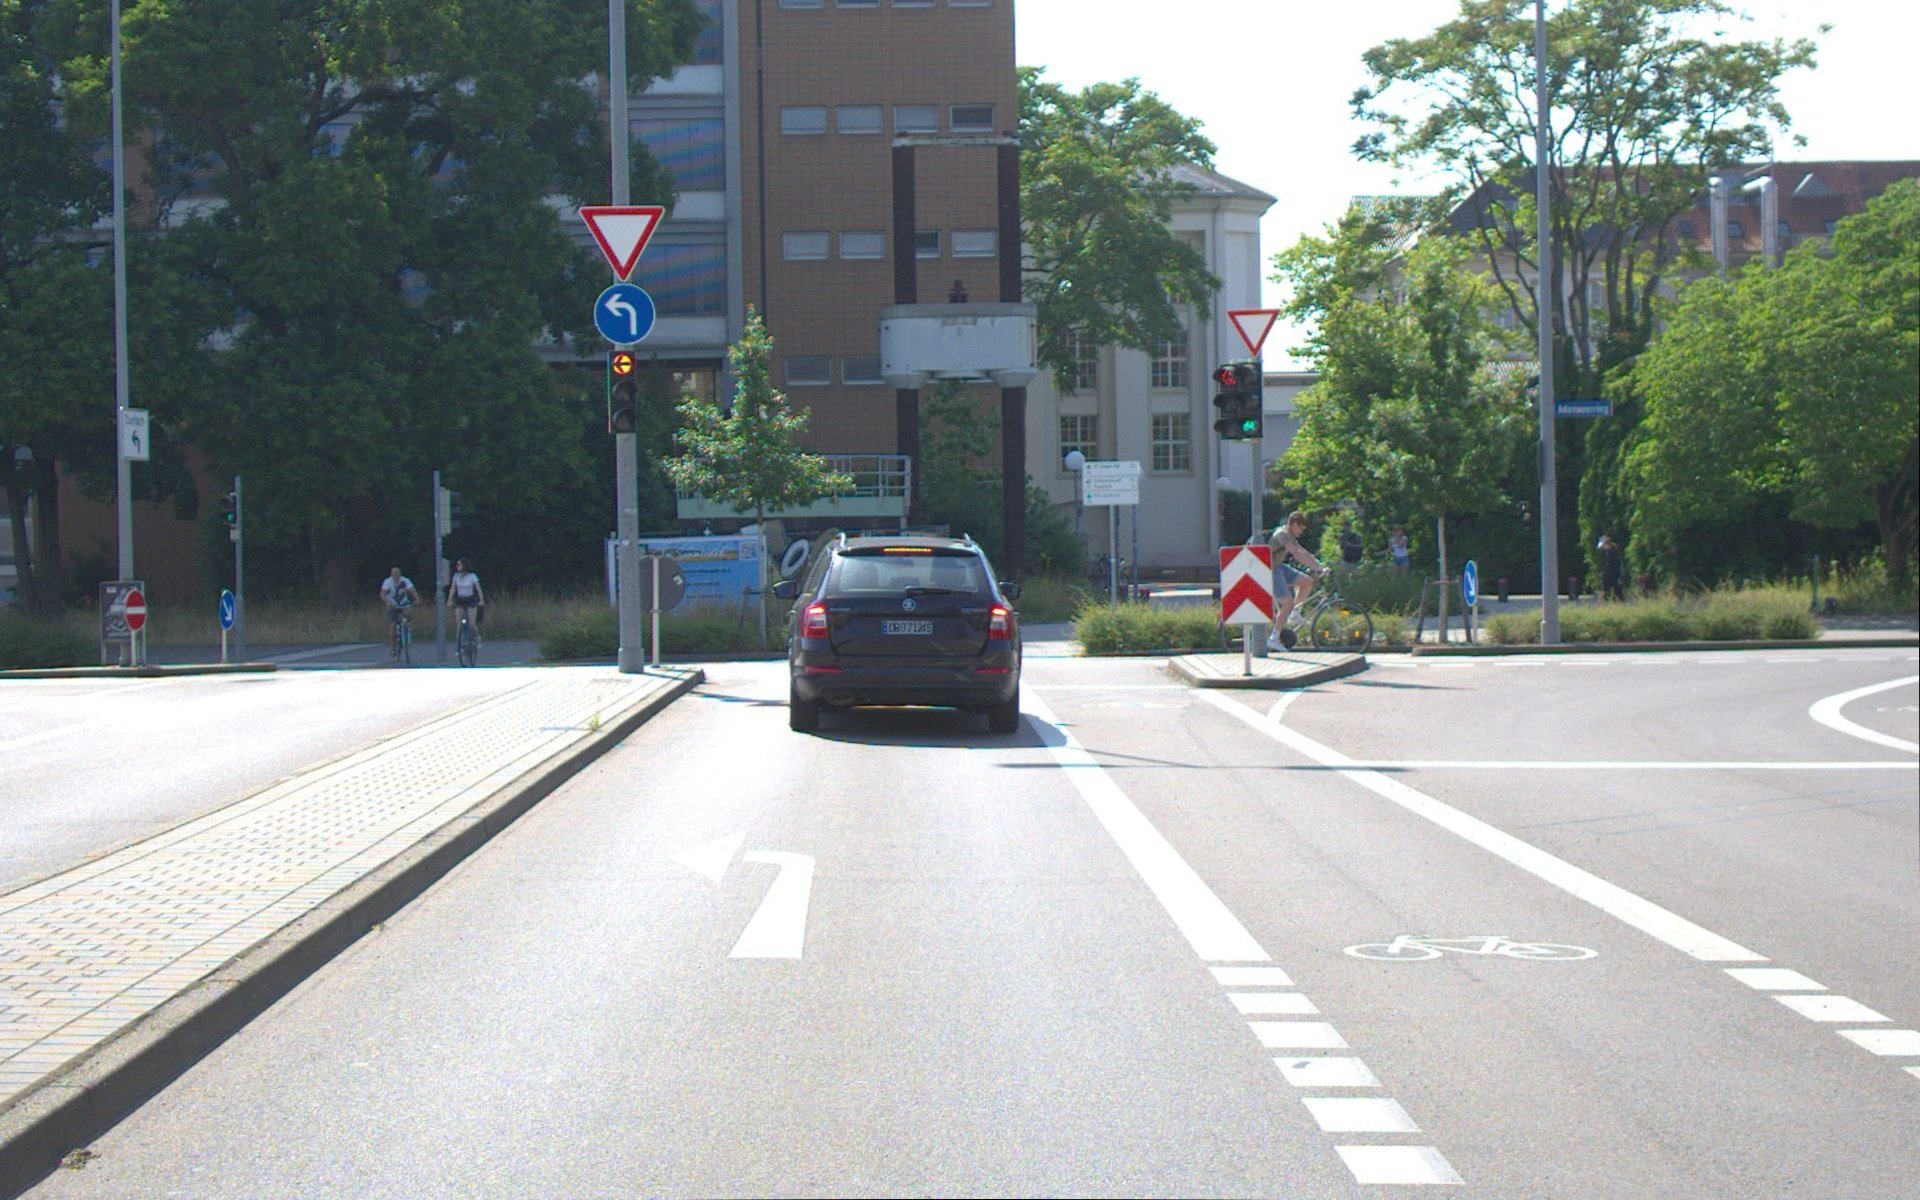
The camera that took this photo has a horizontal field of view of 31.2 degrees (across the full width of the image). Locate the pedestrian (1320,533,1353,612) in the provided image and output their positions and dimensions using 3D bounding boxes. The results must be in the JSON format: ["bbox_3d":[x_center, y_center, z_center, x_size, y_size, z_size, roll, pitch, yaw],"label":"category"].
[{"bbox_3d":[8.877,-0.647,81.074,0.597,1.868,0.638,1,0,22],"label":"pedestrian"}]

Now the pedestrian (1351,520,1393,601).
[{"bbox_3d":[9.693,-0.927,80.855,0.795,1.868,0.638,1,0,25],"label":"pedestrian"}]

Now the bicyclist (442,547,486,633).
[{"bbox_3d":[-8.518,-0.176,59.016,0.618,1.438,0.921,-3,1,-6],"label":"bicyclist"}]

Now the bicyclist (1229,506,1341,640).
[{"bbox_3d":[3.643,-0.305,38.514,1.166,1.469,0.564,-1,1,12],"label":"bicyclist"}]

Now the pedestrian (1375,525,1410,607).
[{"bbox_3d":[10.050,-0.796,79.910,0.637,1.868,0.796,-3,1,-1],"label":"pedestrian"}]

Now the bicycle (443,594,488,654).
[{"bbox_3d":[-8.483,0.404,59.026,0.618,0.957,1.968,-3,1,-6],"label":"bicycle"}]

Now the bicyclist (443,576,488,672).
[{"bbox_3d":[-8.483,0.404,59.026,0.618,1.576,1.014,-3,1,-6],"label":"bicyclist"}]

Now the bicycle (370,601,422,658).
[{"bbox_3d":[-10.354,0.532,63.207,0.704,0.974,2.031,-1,1,-3],"label":"bicycle"}]

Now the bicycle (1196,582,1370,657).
[{"bbox_3d":[3.622,0.217,38.525,1.891,0.790,0.560,-1,2,12],"label":"bicycle"}]

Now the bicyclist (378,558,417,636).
[{"bbox_3d":[-10.352,-0.061,63.303,0.539,1.412,1.030,-2,0,-3],"label":"bicyclist"}]

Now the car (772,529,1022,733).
[{"bbox_3d":[-0.471,0.190,26.595,1.779,1.438,3.818,1,1,-1],"label":"car"}]
